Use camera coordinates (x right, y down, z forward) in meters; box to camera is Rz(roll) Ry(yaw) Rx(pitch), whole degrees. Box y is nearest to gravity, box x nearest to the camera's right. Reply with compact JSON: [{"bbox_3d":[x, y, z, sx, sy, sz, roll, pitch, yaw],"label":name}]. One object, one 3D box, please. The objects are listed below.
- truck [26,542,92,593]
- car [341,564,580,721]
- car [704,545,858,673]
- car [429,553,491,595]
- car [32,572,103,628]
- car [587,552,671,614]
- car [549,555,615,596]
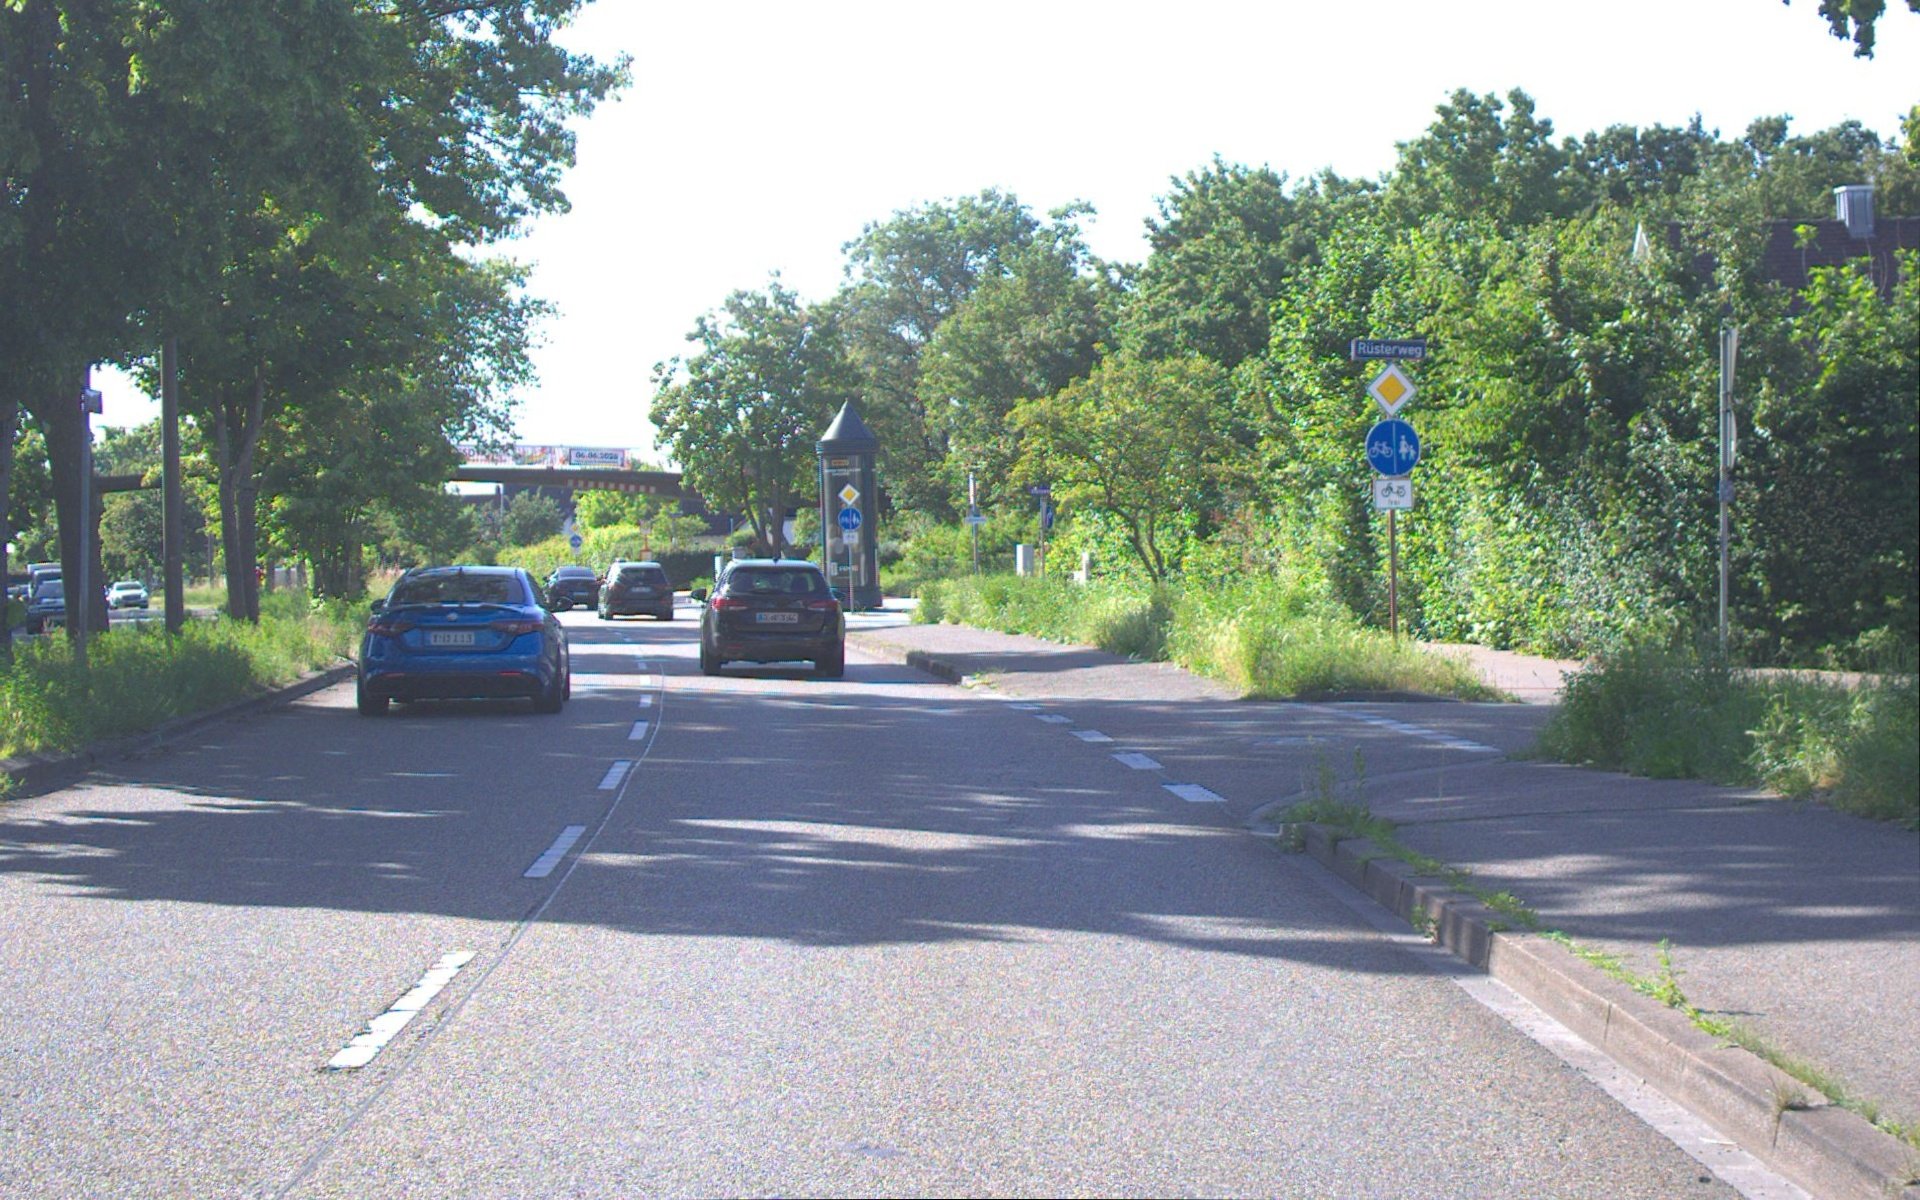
[{"bbox_3d":[-47.788,-1.711,182.229,2.172,2.504,5.743,-4,1,-26],"label":"truck"},{"bbox_3d":[-4.810,0.366,33.598,1.994,1.400,4.001,-1,1,-4],"label":"car"},{"bbox_3d":[-2.338,0.128,44.068,1.760,1.554,4.000,0,-1,-6],"label":"car"},{"bbox_3d":[-17.109,-0.897,117.475,1.898,1.351,4.001,-1,1,-11],"label":"car"},{"bbox_3d":[-25.077,-0.006,96.536,1.692,1.431,4.942,-3,1,-17],"label":"car"},{"bbox_3d":[-8.781,-0.472,90.990,1.743,1.592,4.176,-1,1,-12],"label":"car"},{"bbox_3d":[-13.049,-0.854,118.547,1.898,1.351,4.001,-1,1,-11],"label":"car"}]
